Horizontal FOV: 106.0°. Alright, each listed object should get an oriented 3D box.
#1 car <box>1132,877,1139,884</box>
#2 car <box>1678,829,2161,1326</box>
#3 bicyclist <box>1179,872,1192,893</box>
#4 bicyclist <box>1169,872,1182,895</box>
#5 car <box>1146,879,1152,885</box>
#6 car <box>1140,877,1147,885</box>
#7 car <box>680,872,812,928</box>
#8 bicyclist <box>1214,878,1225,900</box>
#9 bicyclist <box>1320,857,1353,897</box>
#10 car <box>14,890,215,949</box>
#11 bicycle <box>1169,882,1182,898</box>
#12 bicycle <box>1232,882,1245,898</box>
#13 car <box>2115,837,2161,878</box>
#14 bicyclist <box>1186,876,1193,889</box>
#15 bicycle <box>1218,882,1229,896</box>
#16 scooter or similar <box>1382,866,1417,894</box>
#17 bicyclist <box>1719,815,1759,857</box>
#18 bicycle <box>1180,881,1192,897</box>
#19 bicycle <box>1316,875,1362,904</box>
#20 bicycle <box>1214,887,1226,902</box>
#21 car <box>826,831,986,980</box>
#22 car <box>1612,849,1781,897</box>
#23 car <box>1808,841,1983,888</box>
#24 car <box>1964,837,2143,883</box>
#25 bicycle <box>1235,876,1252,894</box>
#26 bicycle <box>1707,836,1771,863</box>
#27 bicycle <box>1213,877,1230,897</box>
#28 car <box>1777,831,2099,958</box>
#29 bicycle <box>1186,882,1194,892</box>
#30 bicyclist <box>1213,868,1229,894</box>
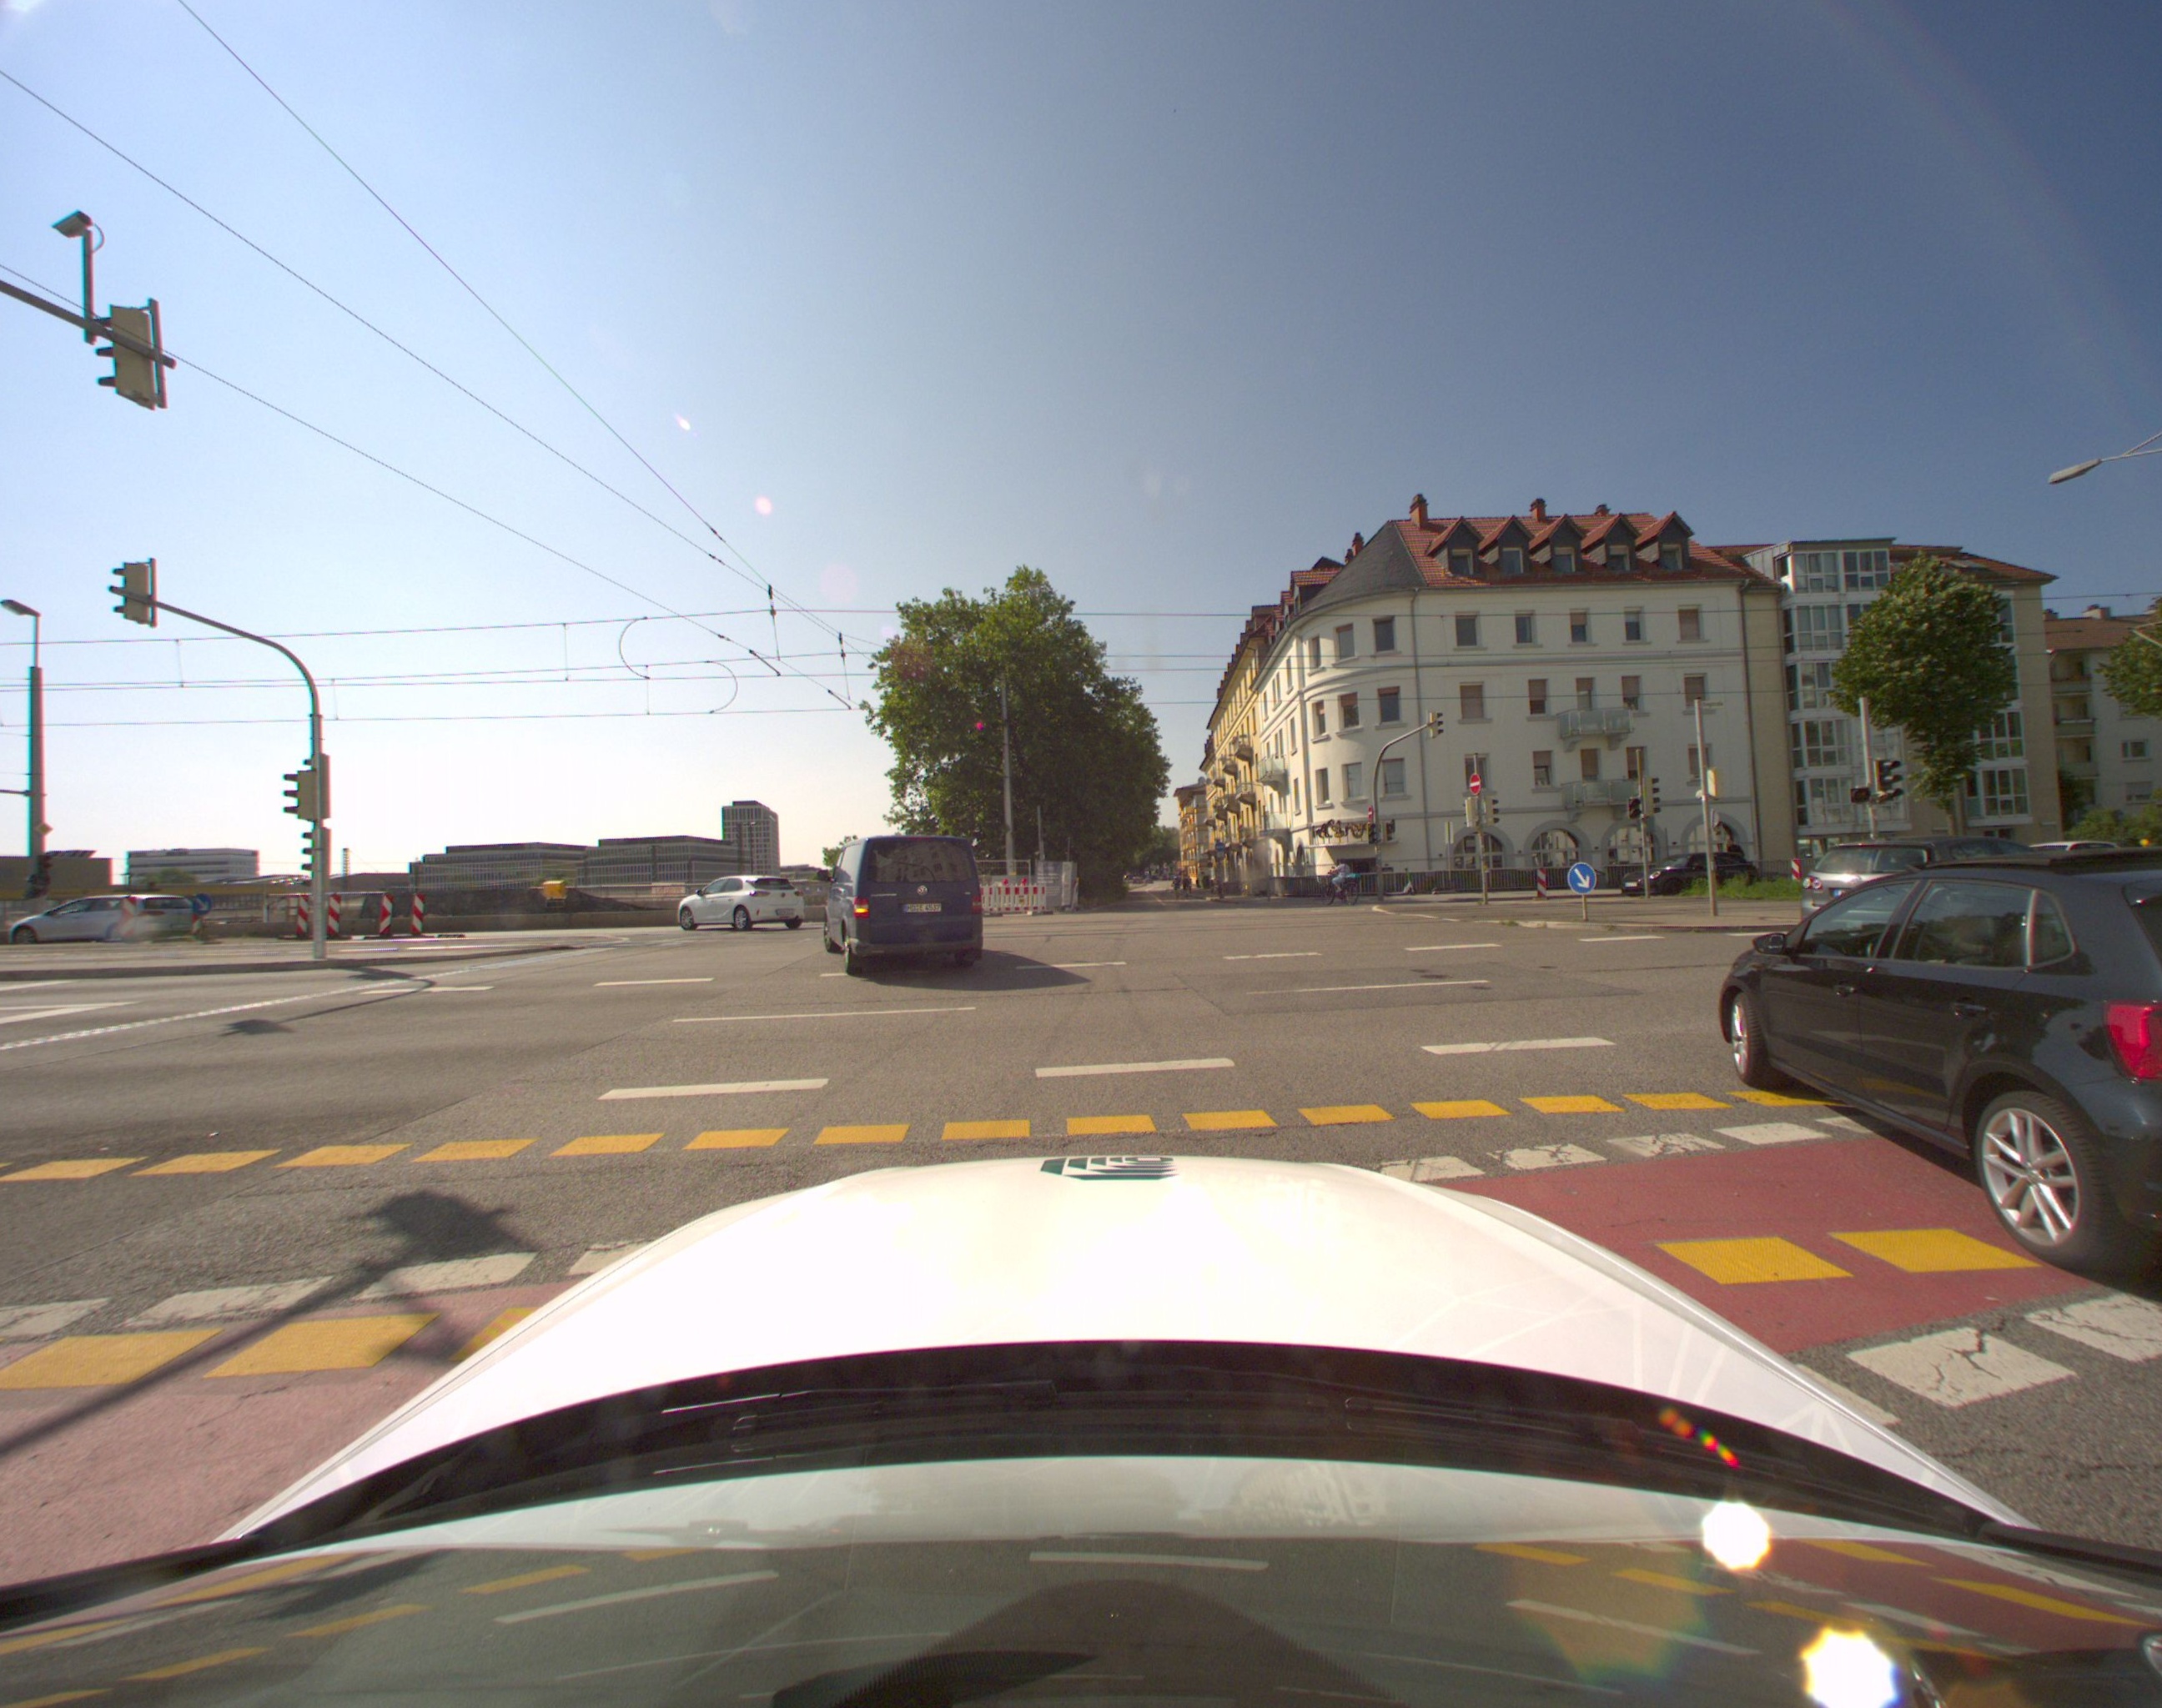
[{"bbox_3d":[14.315,6.986,213.870,1.619,1.623,3.699,-2,-1,4],"label":"car"},{"bbox_3d":[4.515,0.646,3.961,1.576,1.493,3.680,-2,-1,20],"label":"car"},{"bbox_3d":[7.753,2.118,60.420,0.833,1.538,1.025,-2,-2,7],"label":"bicyclist"},{"bbox_3d":[6.641,2.053,57.083,0.833,1.538,1.025,-2,-2,7],"label":"bicyclist"},{"bbox_3d":[17.817,7.338,213.812,1.619,1.623,3.699,-2,-1,4],"label":"car"},{"bbox_3d":[15.153,6.513,196.043,1.619,1.623,3.699,-2,-1,4],"label":"car"},{"bbox_3d":[-9.036,1.244,21.913,3.367,1.405,1.734,-4,-3,35],"label":"car"},{"bbox_3d":[10.170,2.580,59.832,0.704,1.550,0.786,-4,-1,6],"label":"bicyclist"},{"bbox_3d":[9.402,0.854,29.967,0.863,1.415,0.916,-1,-2,-3],"label":"bicyclist"},{"bbox_3d":[-28.091,1.884,23.772,3.675,1.532,1.721,-2,-2,-2],"label":"car"},{"bbox_3d":[6.652,2.510,57.024,0.833,1.137,2.864,-2,-2,7],"label":"bicycle"},{"bbox_3d":[10.999,2.518,56.839,0.677,1.075,2.296,-2,-2,6],"label":"bicycle"},{"bbox_3d":[38.702,0.064,28.157,3.981,1.354,1.764,-1,-3,-6],"label":"car"},{"bbox_3d":[12.586,3.297,94.507,0.833,1.538,1.025,-2,-2,7],"label":"bicyclist"},{"bbox_3d":[11.813,2.878,67.621,0.677,1.075,2.296,-2,-2,6],"label":"bicycle"},{"bbox_3d":[13.379,1.100,34.255,1.290,1.118,0.340,-2,-2,16],"label":"scooter or similar"},{"bbox_3d":[26.840,-0.730,33.248,1.001,1.653,0.811,-2,4,7],"label":"bicyclist"},{"bbox_3d":[7.767,2.595,60.330,0.833,1.137,2.864,-2,-2,8],"label":"bicycle"},{"bbox_3d":[9.417,1.286,29.844,0.863,0.990,2.243,-1,-2,-3],"label":"bicycle"},{"bbox_3d":[10.198,2.979,59.809,0.704,0.991,1.822,-4,-1,6],"label":"bicycle"},{"bbox_3d":[-2.903,0.697,12.814,1.822,1.905,4.025,-2,-1,-21],"label":"car"},{"bbox_3d":[19.290,0.611,25.635,3.975,1.321,1.767,-2,-3,-1],"label":"car"},{"bbox_3d":[26.320,0.353,26.395,3.977,1.354,1.766,-2,-3,-3],"label":"car"},{"bbox_3d":[32.195,0.222,27.039,3.979,1.354,1.765,-2,-3,-4],"label":"car"},{"bbox_3d":[10.667,2.018,53.537,0.833,1.137,2.864,-2,-2,7],"label":"bicycle"},{"bbox_3d":[26.849,-0.181,33.276,1.896,1.020,0.823,-1,2,7],"label":"bicycle"},{"bbox_3d":[8.369,1.980,48.685,0.833,1.137,2.864,-2,-2,7],"label":"bicycle"},{"bbox_3d":[12.145,0.496,11.601,3.652,1.556,1.688,-1,0,-16],"label":"car"},{"bbox_3d":[12.610,3.863,94.460,0.833,1.137,2.864,-2,-2,8],"label":"bicycle"},{"bbox_3d":[8.333,1.600,48.604,0.833,1.508,0.954,-2,-2,7],"label":"bicyclist"}]
